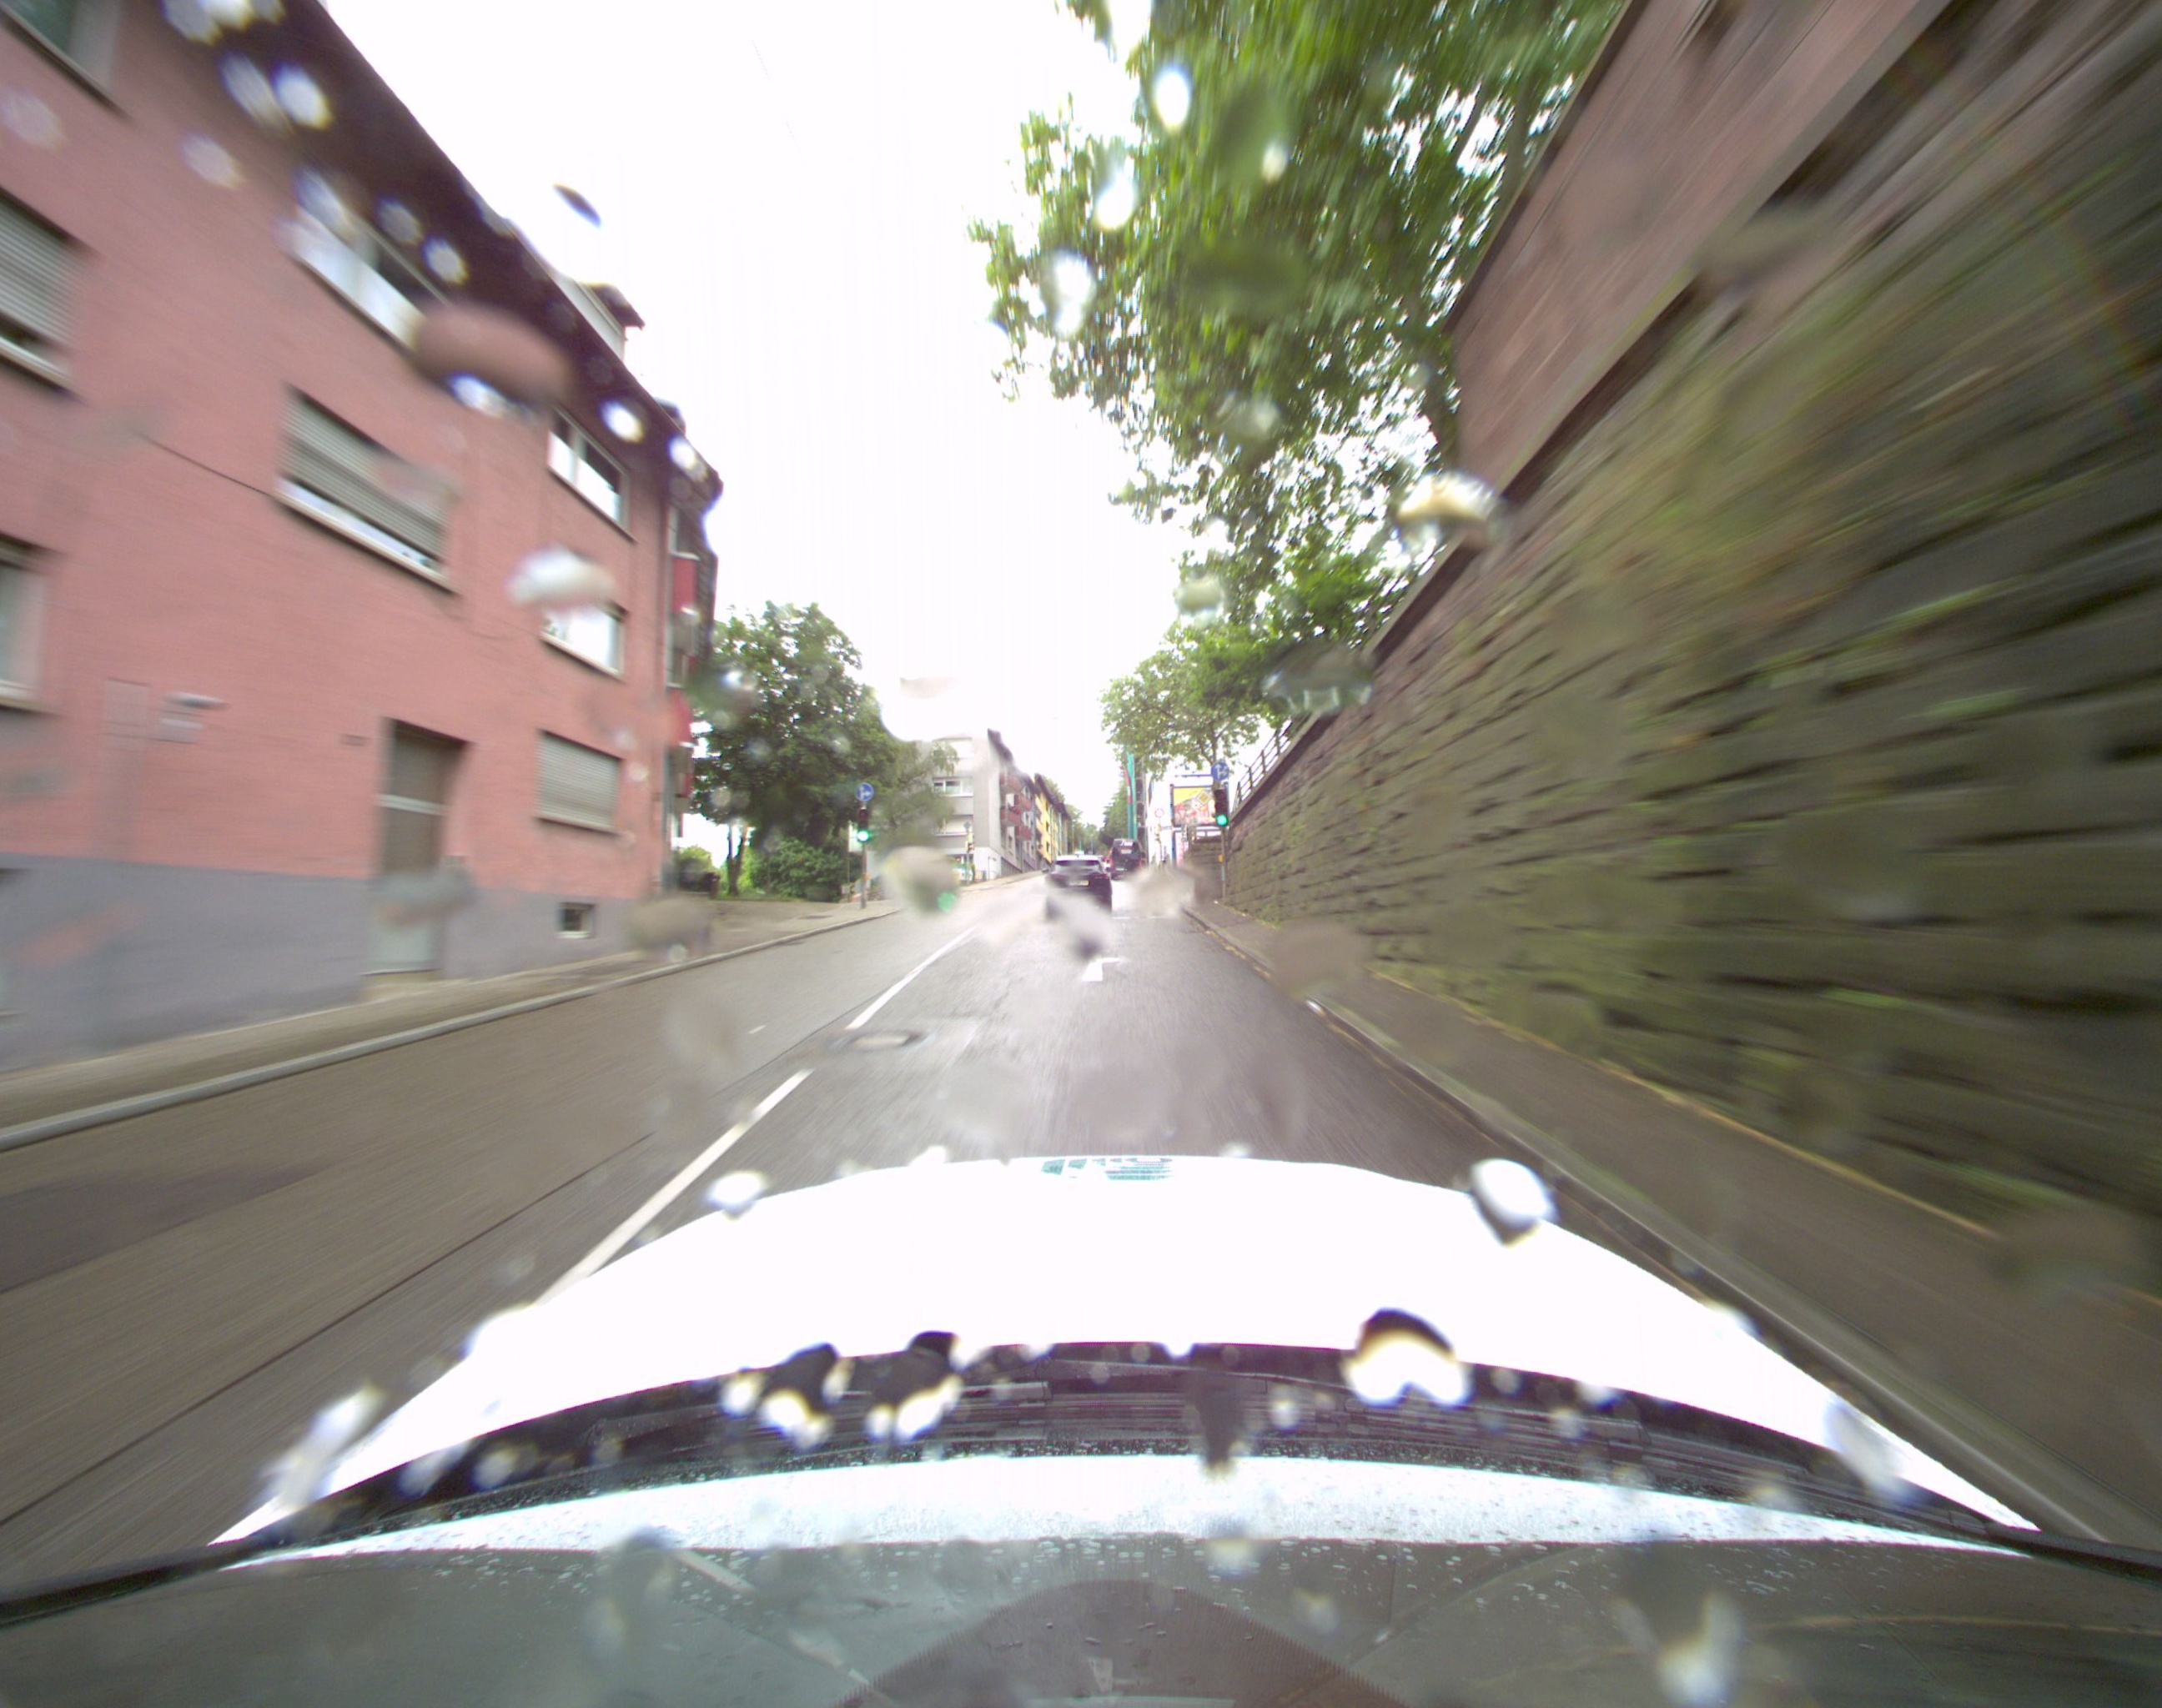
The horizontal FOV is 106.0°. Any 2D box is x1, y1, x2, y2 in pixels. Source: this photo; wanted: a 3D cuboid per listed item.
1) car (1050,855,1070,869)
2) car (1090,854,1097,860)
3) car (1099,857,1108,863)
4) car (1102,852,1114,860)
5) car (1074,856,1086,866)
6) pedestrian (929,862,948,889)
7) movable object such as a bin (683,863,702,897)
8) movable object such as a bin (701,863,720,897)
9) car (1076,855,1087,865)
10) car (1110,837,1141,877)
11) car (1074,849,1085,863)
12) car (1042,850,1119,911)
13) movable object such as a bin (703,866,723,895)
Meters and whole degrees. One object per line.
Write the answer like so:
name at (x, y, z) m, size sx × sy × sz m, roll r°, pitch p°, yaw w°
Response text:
car at (-2.579, 1.006, 101.207) m, size 1.984 × 1.650 × 4.447 m, roll -2°, pitch 0°, yaw 4°
car at (3.766, 0.944, 247.964) m, size 2.067 × 1.559 × 4.000 m, roll -1°, pitch 0°, yaw 1°
car at (5.204, 1.404, 192.220) m, size 2.067 × 1.559 × 4.000 m, roll -1°, pitch 0°, yaw 1°
car at (5.086, 0.407, 153.391) m, size 2.067 × 1.559 × 4.000 m, roll -1°, pitch 0°, yaw 0°
car at (-0.108, 1.234, 140.687) m, size 1.983 × 1.585 × 4.305 m, roll -2°, pitch 0°, yaw 1°
pedestrian at (-8.281, 1.240, 47.325) m, size 0.867 × 1.541 × 1.087 m, roll 0°, pitch -2°, yaw -1°
movable object such as a bin at (-13.804, 0.918, 28.926) m, size 0.562 × 1.200 × 0.683 m, roll 1°, pitch -3°, yaw -24°
movable object such as a bin at (-13.279, 0.929, 29.191) m, size 0.562 × 1.200 × 0.683 m, roll 1°, pitch -3°, yaw -24°
car at (0.099, 1.130, 147.374) m, size 1.983 × 1.755 × 4.480 m, roll -2°, pitch 0°, yaw 1°
car at (2.921, 0.277, 53.835) m, size 1.985 × 2.414 × 5.839 m, roll 0°, pitch -2°, yaw 3°
car at (-0.275, 0.398, 156.928) m, size 1.983 × 2.475 × 5.785 m, roll -2°, pitch 0°, yaw 1°
car at (0.051, 0.665, 22.991) m, size 1.986 × 1.559 × 4.002 m, roll 0°, pitch 0°, yaw 2°
movable object such as a bin at (-13.451, 0.973, 29.805) m, size 0.630 × 1.016 × 0.496 m, roll 1°, pitch -3°, yaw -24°
